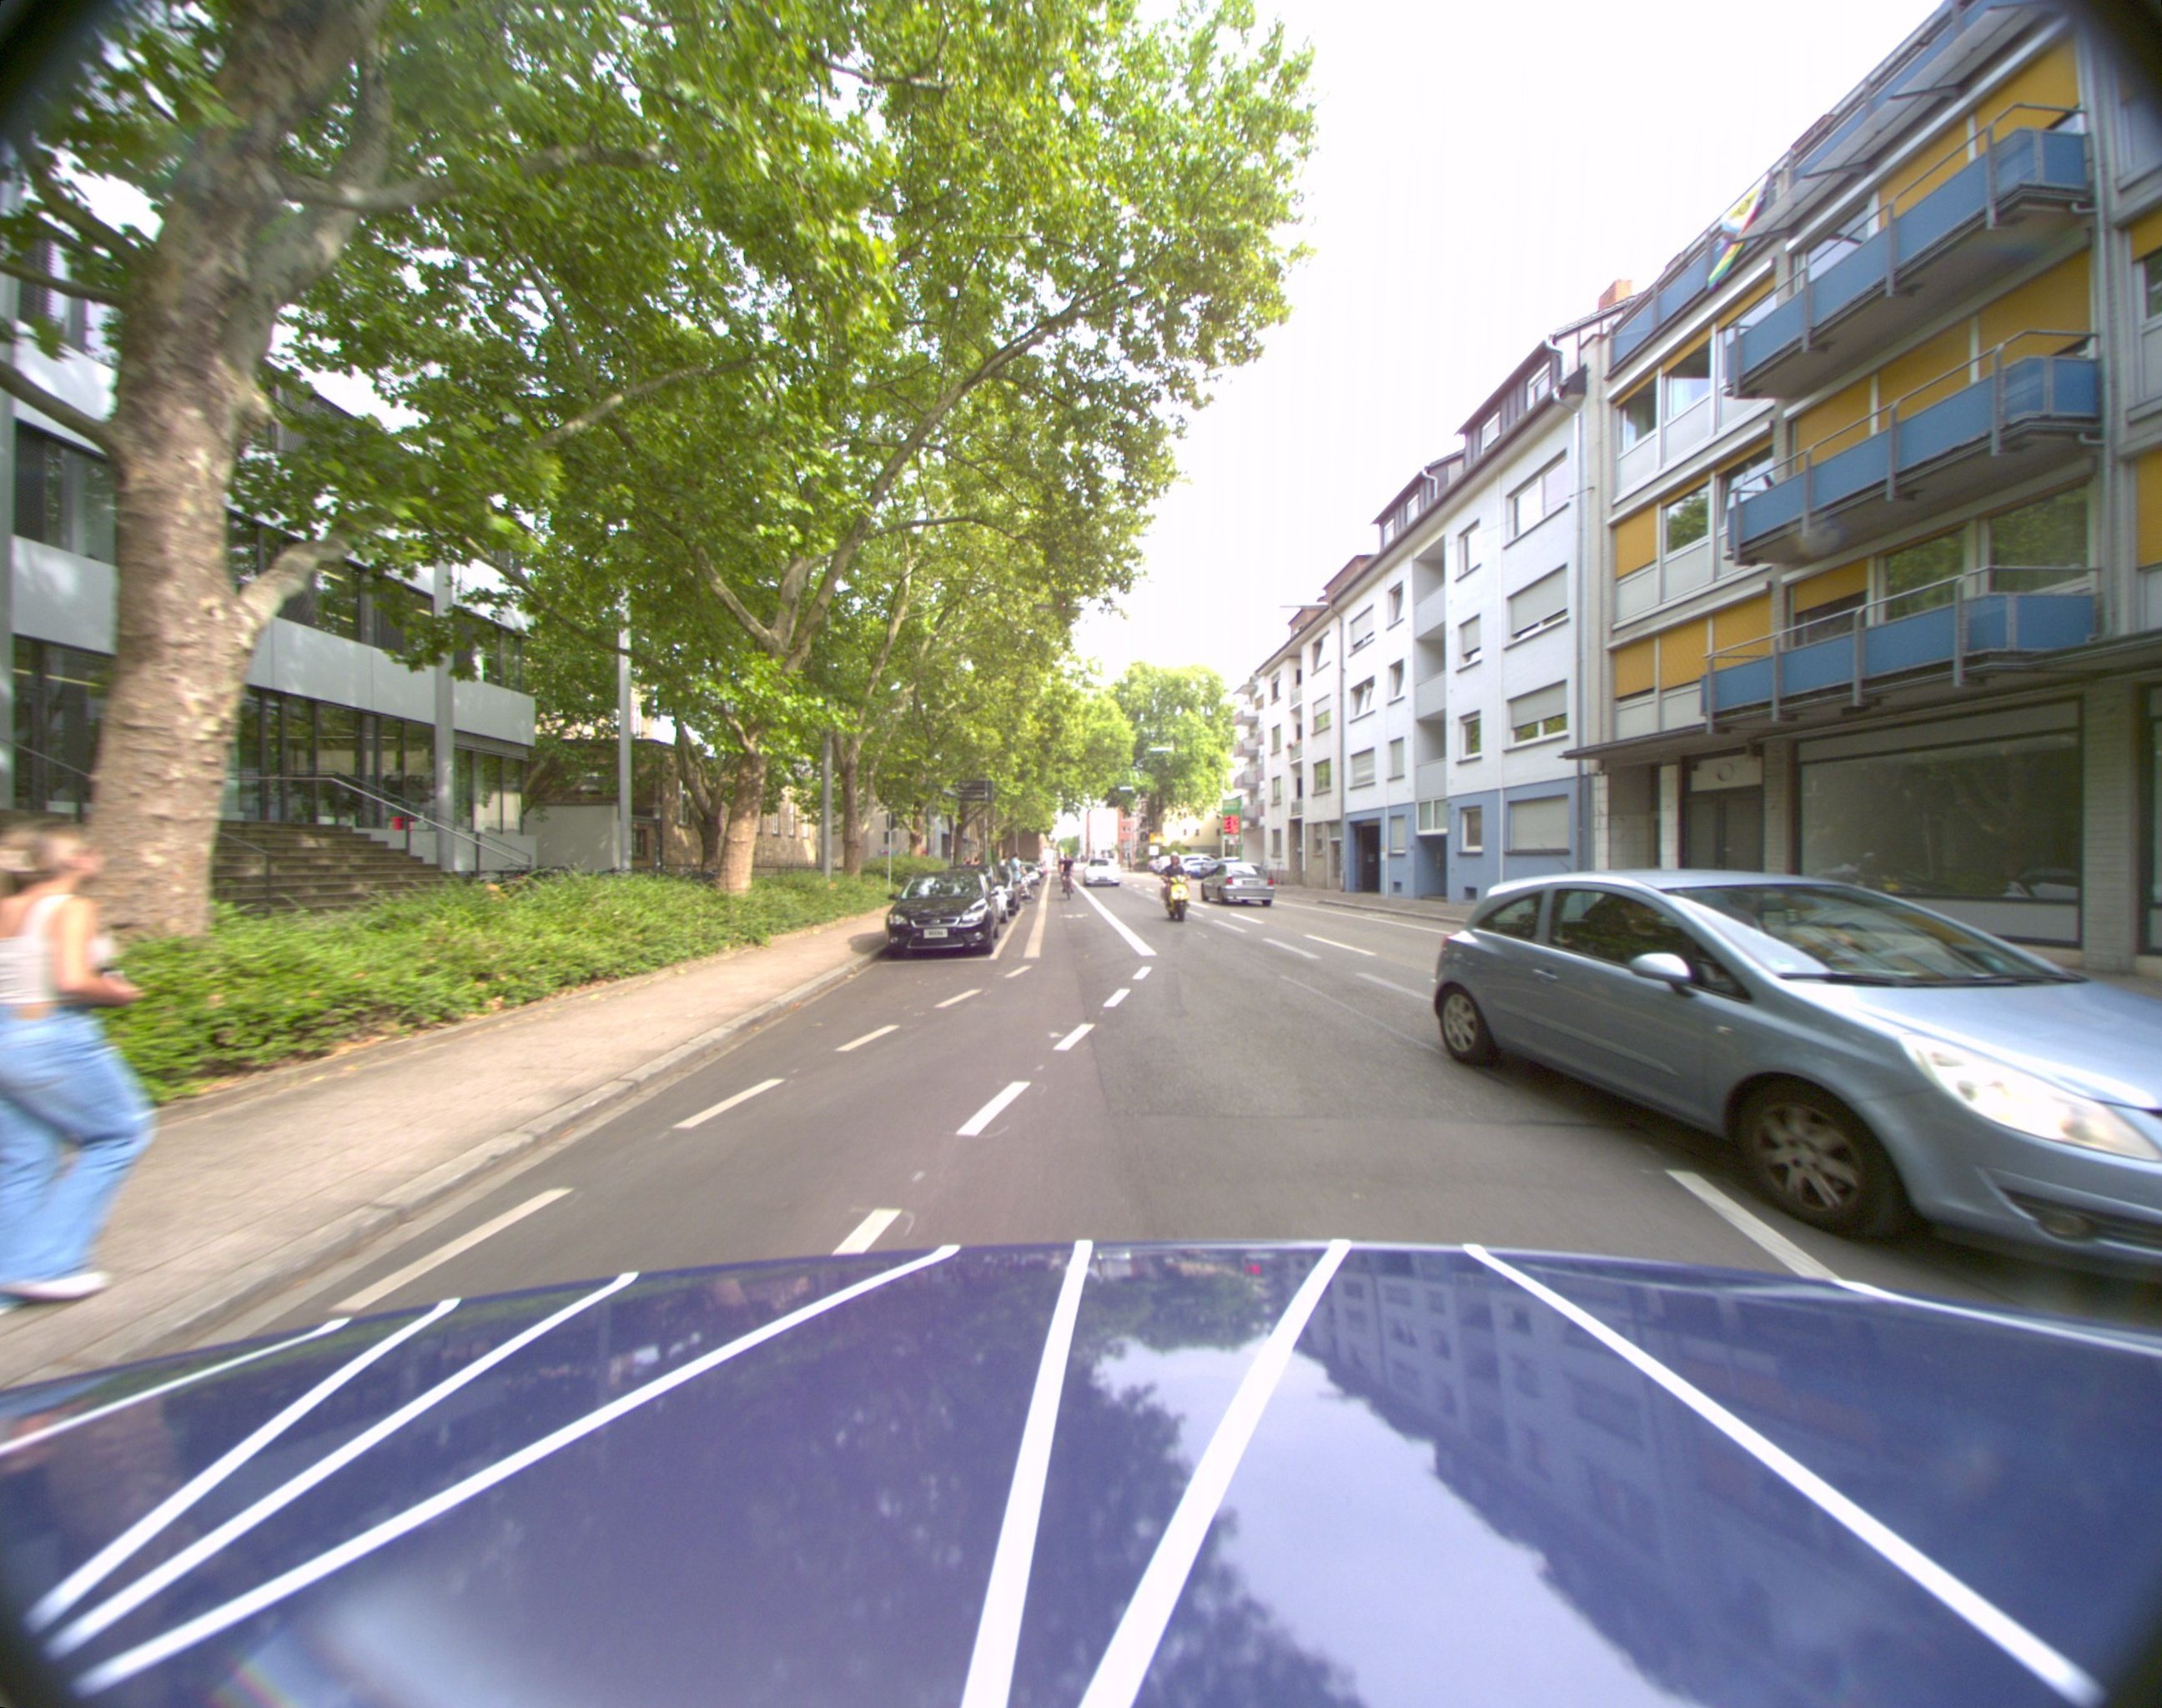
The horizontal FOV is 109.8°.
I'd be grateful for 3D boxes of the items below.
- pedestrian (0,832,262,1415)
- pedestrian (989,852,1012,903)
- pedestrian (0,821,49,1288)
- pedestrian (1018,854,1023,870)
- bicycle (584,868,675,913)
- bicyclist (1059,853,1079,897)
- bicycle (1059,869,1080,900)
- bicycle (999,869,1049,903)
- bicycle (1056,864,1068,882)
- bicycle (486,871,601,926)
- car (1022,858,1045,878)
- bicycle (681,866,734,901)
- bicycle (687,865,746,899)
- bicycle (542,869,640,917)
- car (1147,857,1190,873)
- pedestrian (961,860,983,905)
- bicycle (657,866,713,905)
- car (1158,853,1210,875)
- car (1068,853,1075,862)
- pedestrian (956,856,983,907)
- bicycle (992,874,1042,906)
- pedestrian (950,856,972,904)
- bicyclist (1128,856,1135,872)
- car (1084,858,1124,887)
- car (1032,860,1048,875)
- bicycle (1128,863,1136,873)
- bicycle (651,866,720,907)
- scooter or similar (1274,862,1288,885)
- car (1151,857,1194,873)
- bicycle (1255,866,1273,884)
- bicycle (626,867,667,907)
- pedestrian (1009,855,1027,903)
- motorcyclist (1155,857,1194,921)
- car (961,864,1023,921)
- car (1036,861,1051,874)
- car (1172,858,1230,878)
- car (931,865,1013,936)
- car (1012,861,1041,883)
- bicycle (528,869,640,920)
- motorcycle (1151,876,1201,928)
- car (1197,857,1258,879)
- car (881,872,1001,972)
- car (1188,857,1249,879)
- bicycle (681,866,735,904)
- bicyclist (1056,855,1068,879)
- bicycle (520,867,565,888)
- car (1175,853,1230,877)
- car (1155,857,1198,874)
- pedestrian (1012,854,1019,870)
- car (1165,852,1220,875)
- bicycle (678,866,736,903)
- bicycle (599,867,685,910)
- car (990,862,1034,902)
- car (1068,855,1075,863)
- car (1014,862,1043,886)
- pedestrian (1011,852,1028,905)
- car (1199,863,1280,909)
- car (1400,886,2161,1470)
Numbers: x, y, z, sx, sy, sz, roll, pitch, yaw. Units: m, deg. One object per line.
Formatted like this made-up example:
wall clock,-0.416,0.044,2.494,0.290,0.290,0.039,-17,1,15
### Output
pedestrian,-3.644,0.815,2.531,0.712,1.773,1.033,2,1,-3
pedestrian,-3.153,0.915,29.938,0.795,1.985,0.750,-1,0,-2
pedestrian,-4.453,0.762,2.494,0.717,1.789,1.033,2,1,-3
pedestrian,-7.068,0.938,88.895,0.502,1.775,0.527,3,1,-3
bicycle,-11.579,0.925,19.516,1.920,1.111,0.673,1,0,-2
bicyclist,-0.475,0.823,30.452,0.764,1.698,0.917,-1,0,-2
bicycle,-0.462,1.193,30.296,0.763,1.162,1.949,-1,0,-1
bicycle,-2.194,1.213,29.244,1.796,1.210,0.552,-1,0,-19
bicycle,-1.300,1.268,52.112,0.763,1.162,1.949,-1,0,-1
bicycle,-11.375,0.936,16.120,1.920,1.111,0.673,1,0,-2
car,-4.258,1.225,67.631,1.926,1.612,4.479,-2,0,-4
bicycle,-12.049,0.943,24.542,1.449,1.111,0.468,1,0,-5
bicycle,-12.240,0.944,25.558,1.679,1.111,0.604,1,0,-8
bicycle,-11.892,0.935,18.481,1.920,1.111,0.673,1,0,-2
car,9.786,1.211,84.950,4.530,1.596,1.754,-3,0,-1
pedestrian,-4.109,1.071,28.746,0.723,1.648,0.655,-1,0,-2
bicycle,-11.662,0.935,22.419,1.384,1.111,0.510,1,0,-17
car,9.932,0.978,73.484,4.628,1.848,1.950,-3,0,-1
car,-2.975,1.066,241.024,1.999,2.620,4.798,-1,0,-1
pedestrian,-4.104,1.003,27.967,0.873,1.806,0.780,-1,0,-2
bicycle,-2.361,1.310,27.938,1.741,1.099,0.551,-1,0,-13
pedestrian,-4.688,1.007,29.736,0.723,1.844,0.703,-1,0,-2
bicyclist,5.662,1.093,84.810,0.653,1.800,1.045,-1,1,-2
car,1.286,1.009,44.164,2.001,1.556,4.550,-1,0,-2
car,-4.444,1.441,82.734,1.603,1.496,4.440,-2,0,-2
bicycle,5.668,1.572,84.808,0.648,1.008,2.076,-1,0,-2
bicycle,-11.351,0.927,21.852,1.701,1.111,0.622,1,0,-21
scooter or similar,10.716,1.054,40.690,0.350,1.214,1.201,-1,0,-2
car,9.945,1.213,82.640,4.373,1.540,1.732,-3,0,-1
bicycle,10.439,1.182,43.387,0.598,0.945,1.662,-1,0,-2
bicycle,-12.524,0.939,21.929,0.492,1.111,1.437,1,0,-7
pedestrian,-2.438,0.952,29.478,0.522,1.834,0.743,-1,0,-17
motorcyclist,2.423,0.893,19.685,0.905,1.608,0.691,0,0,-1
car,-2.631,1.110,23.212,1.532,1.493,3.659,-2,0,-2
car,-4.320,1.545,88.060,1.603,1.438,4.104,-2,0,-2
car,9.696,1.132,61.673,4.282,1.442,1.874,-3,0,-2
car,-2.580,1.071,18.444,1.539,1.534,2.599,-2,0,1
car,-3.832,1.234,53.812,1.759,1.438,4.218,-2,0,-1
bicycle,-11.397,0.931,17.456,2.085,1.111,0.673,1,0,-2
motorcycle,2.419,1.193,19.683,0.905,1.190,2.630,0,0,-1
car,10.960,1.044,57.084,4.162,1.504,1.837,-3,0,-2
car,-2.419,1.121,14.121,1.702,1.417,4.420,-2,0,-5
car,10.727,1.086,59.372,4.312,1.442,1.910,-3,0,-2
bicycle,-11.298,0.939,23.042,1.383,1.111,0.468,1,0,-9
bicyclist,-1.297,0.905,52.118,0.749,1.590,0.819,-1,0,-2
bicycle,-23.720,1.027,33.476,1.623,0.873,0.508,0,2,3
car,10.241,0.916,64.343,4.222,1.837,1.924,-3,0,-2
car,10.054,1.214,80.514,4.276,1.502,1.719,-3,0,-1
pedestrian,-7.714,0.904,89.288,0.644,1.823,0.645,3,1,-3
car,10.408,0.910,71.124,4.779,1.923,1.993,-3,0,-1
bicycle,-11.545,0.940,23.477,1.544,1.111,0.468,1,0,-9
bicycle,-11.881,0.926,20.593,1.920,1.111,0.673,1,0,-2
car,-2.946,1.158,32.950,1.685,1.507,4.542,-3,0,-4
car,-2.899,1.453,232.321,1.999,2.545,4.798,-1,0,-1
car,-3.401,1.239,49.148,1.648,1.438,3.880,-2,0,-6
pedestrian,-2.302,0.911,28.208,0.476,1.923,0.744,-1,0,-13
car,5.397,1.055,26.406,1.762,1.419,4.098,1,0,-3
car,3.649,0.978,4.206,1.717,1.412,4.251,-1,0,-4
